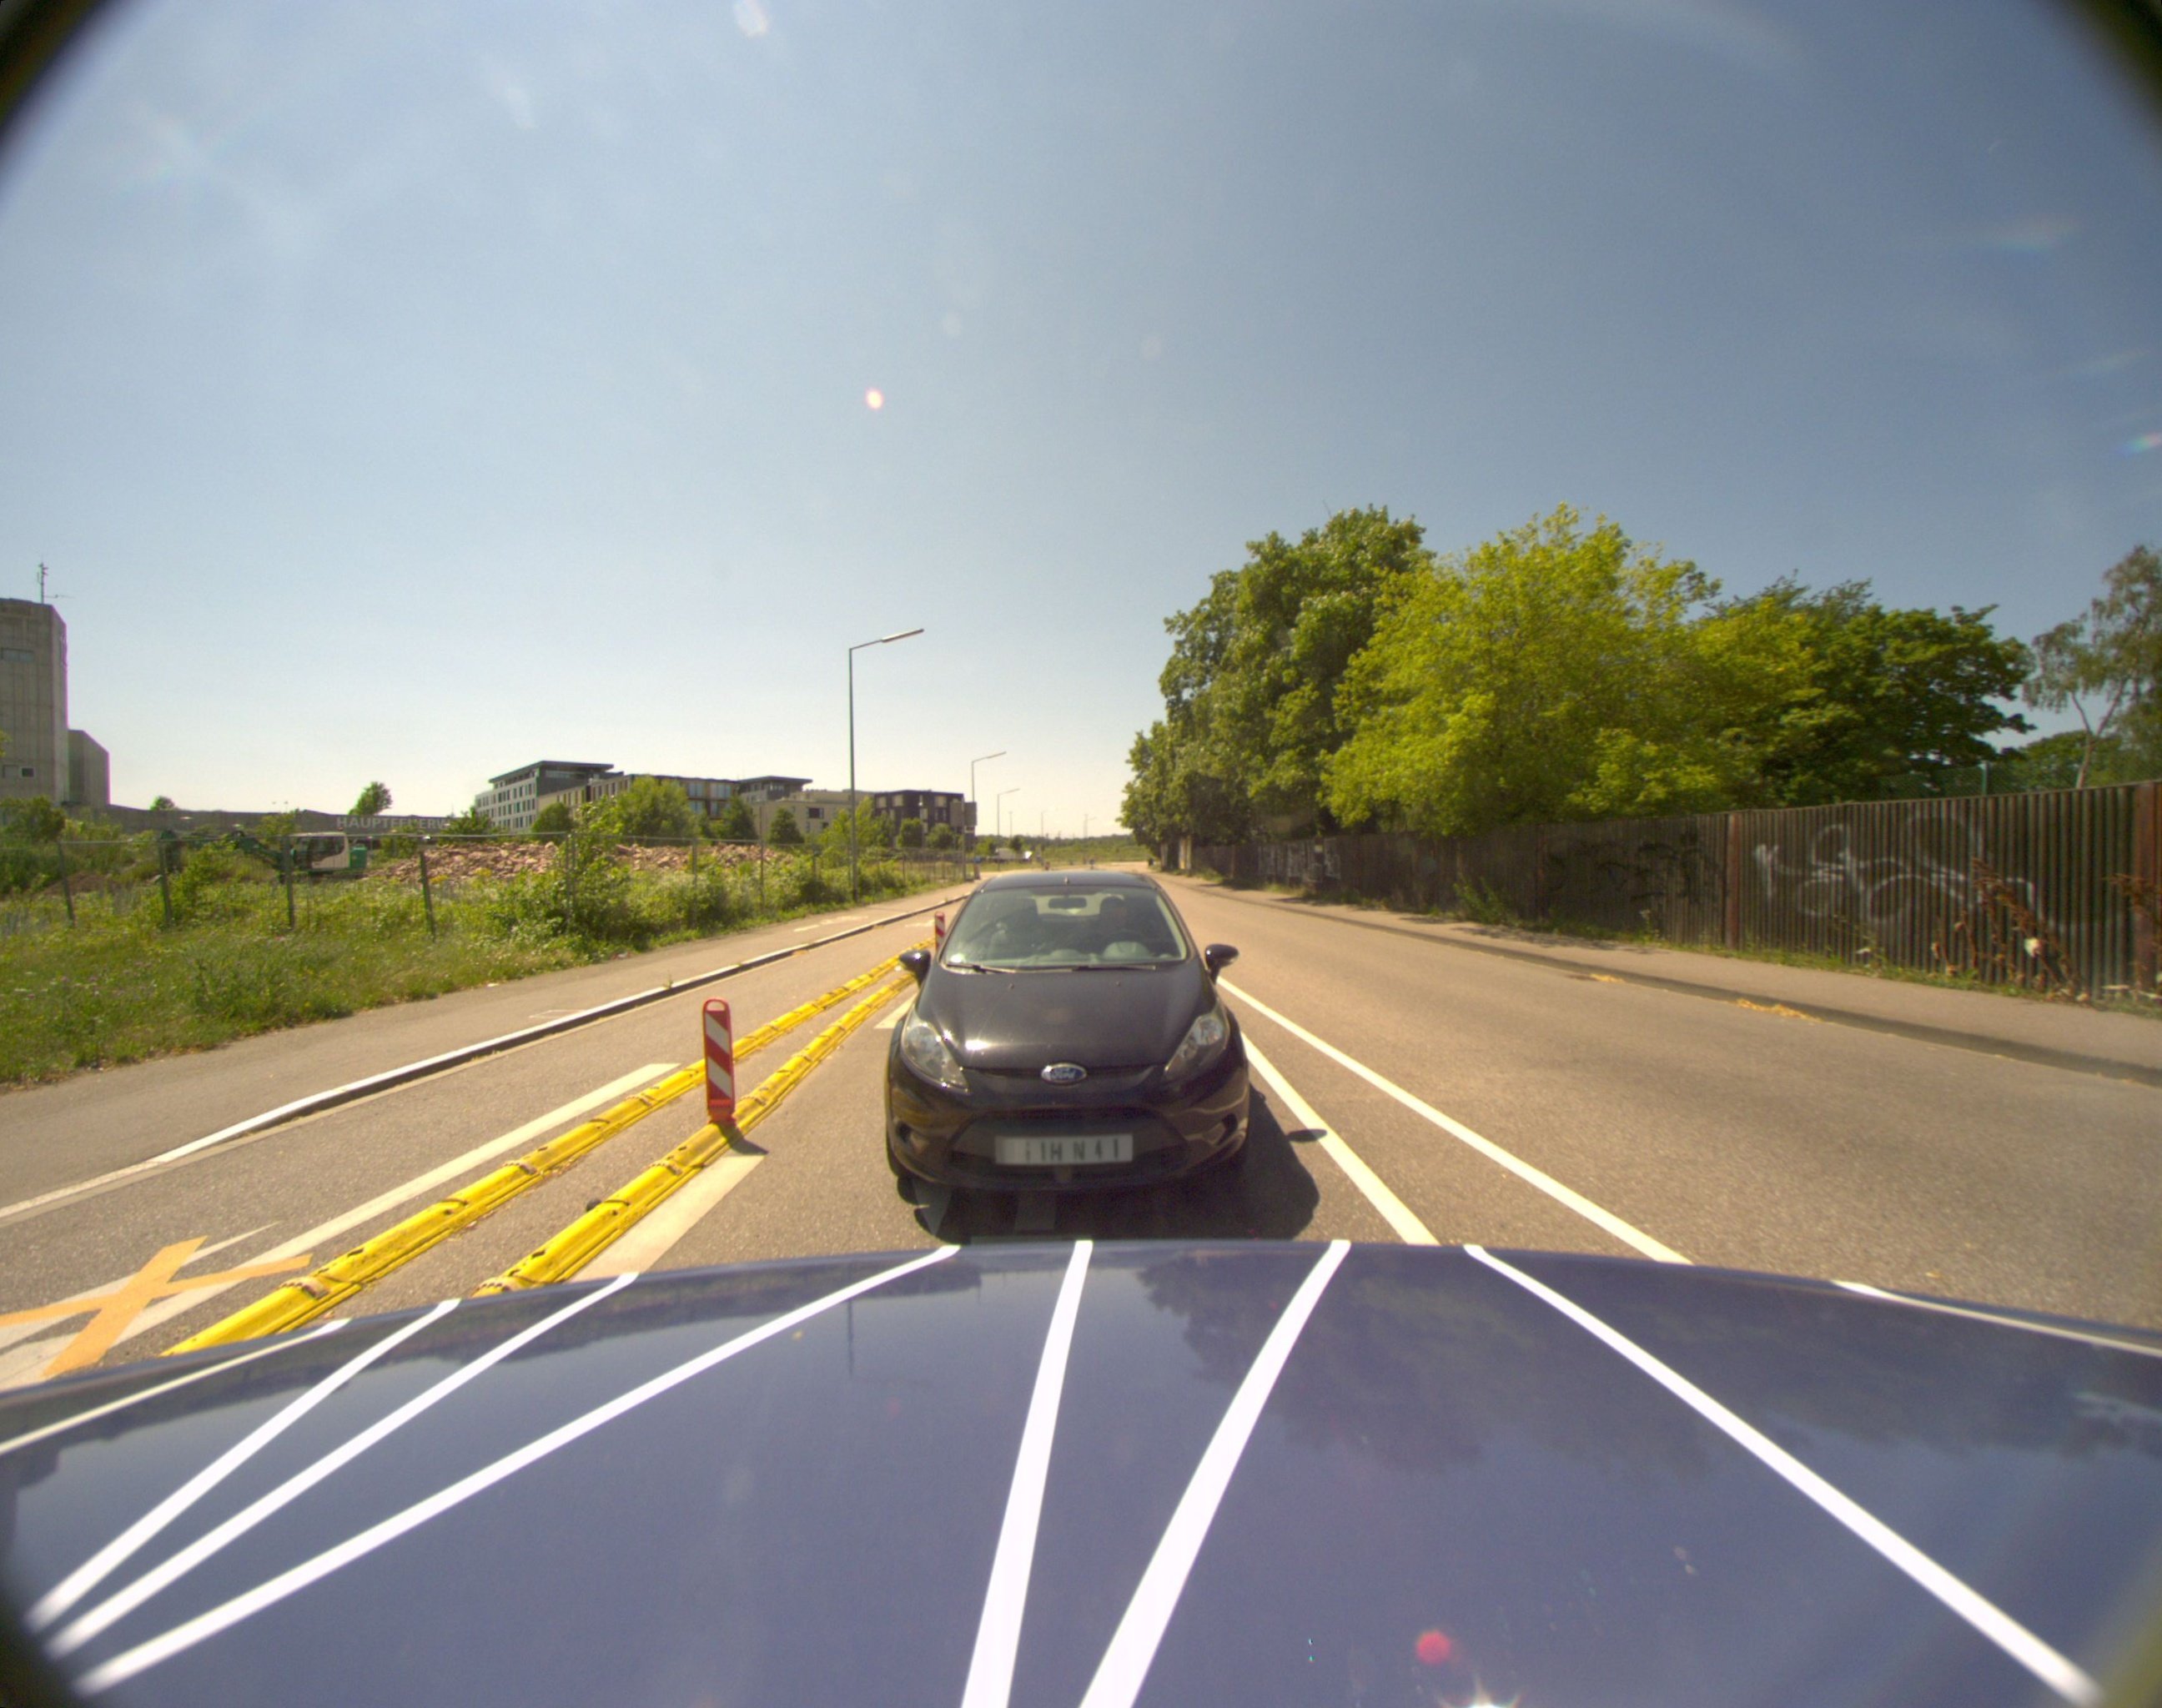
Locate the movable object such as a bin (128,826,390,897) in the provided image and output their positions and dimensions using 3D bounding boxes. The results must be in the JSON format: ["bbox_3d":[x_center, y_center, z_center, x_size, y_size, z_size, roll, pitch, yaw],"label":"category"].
[{"bbox_3d":[-38.339,0.268,35.973,3.231,2.899,7.702,-2,1,15],"label":"movable object such as a bin"}]

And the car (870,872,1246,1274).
[{"bbox_3d":[-0.067,0.975,5.203,1.528,1.510,3.999,-2,1,1],"label":"car"}]
